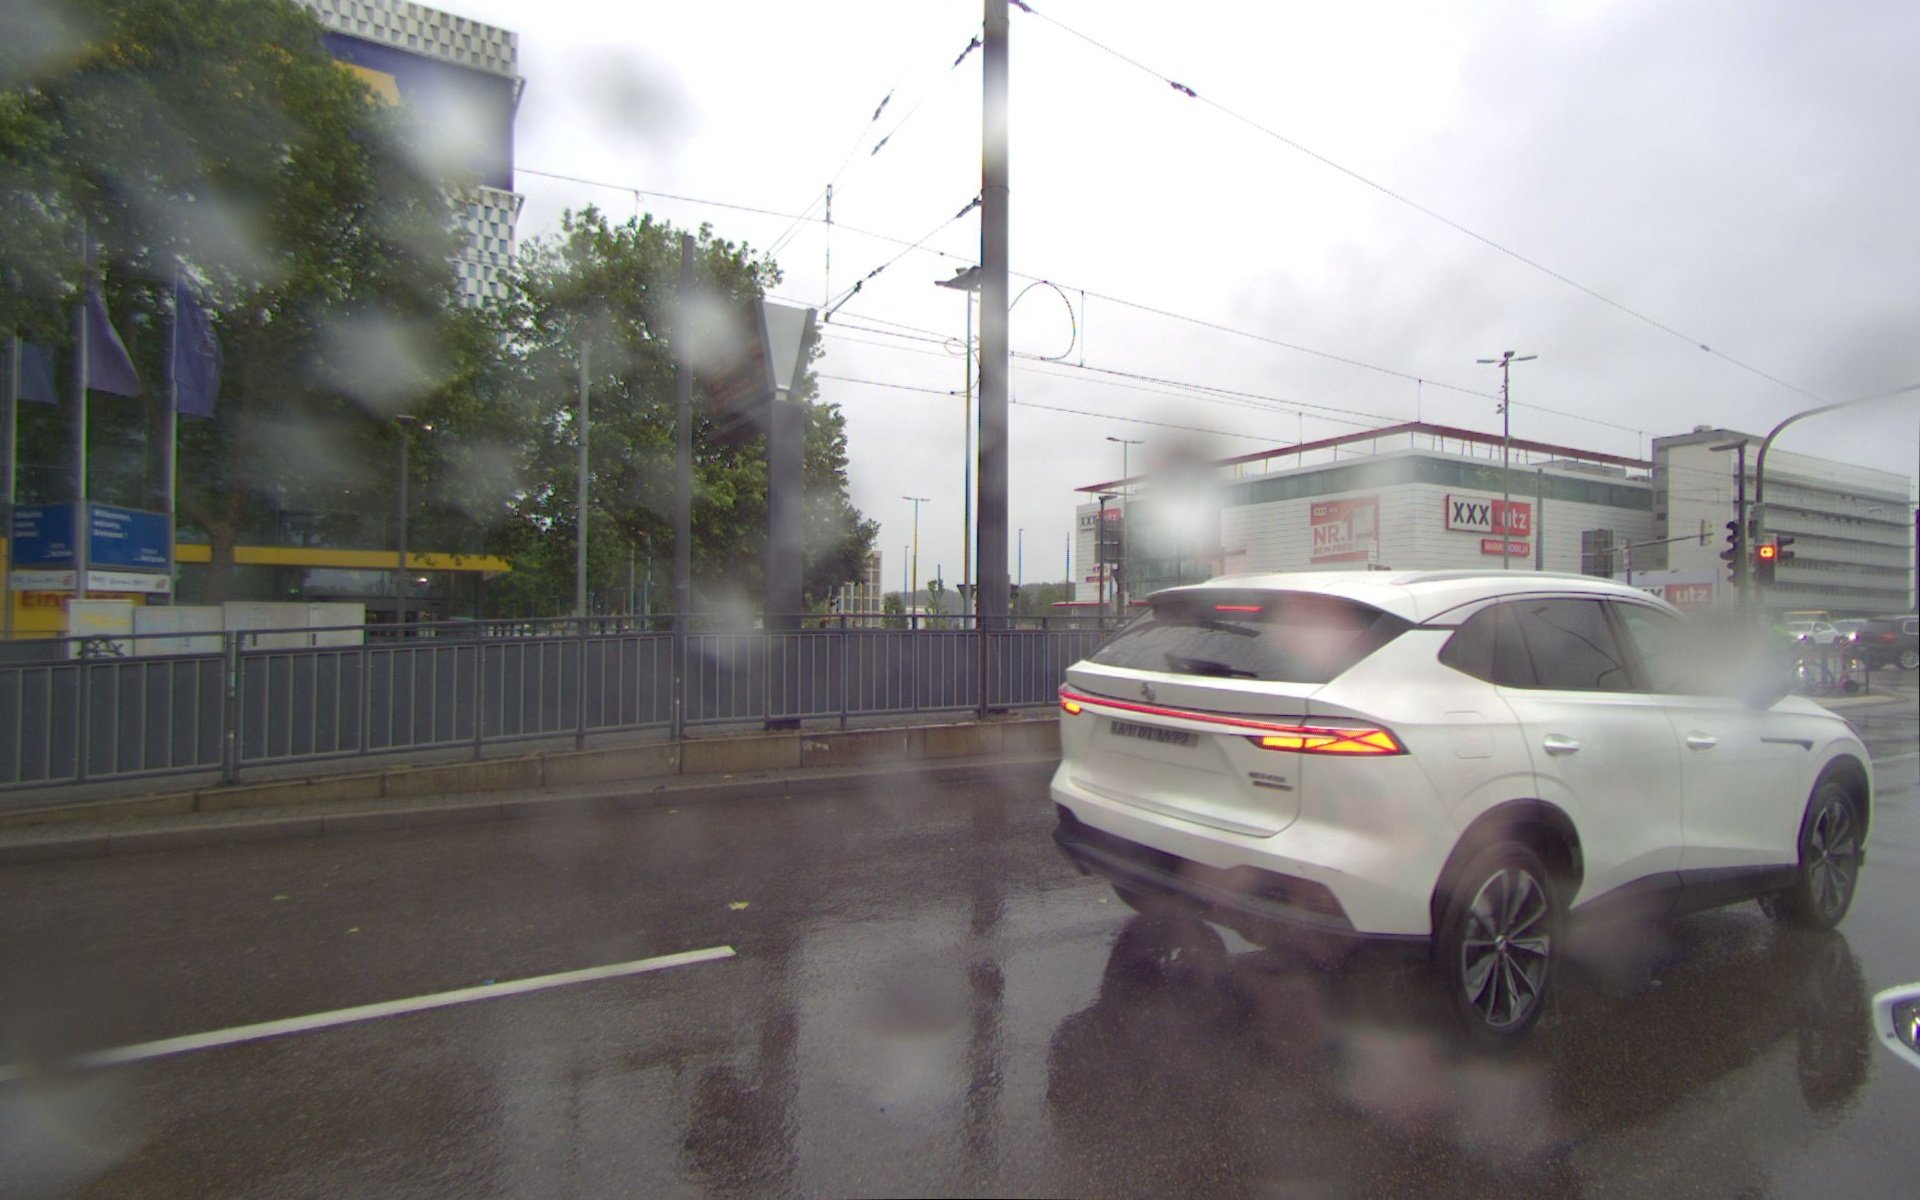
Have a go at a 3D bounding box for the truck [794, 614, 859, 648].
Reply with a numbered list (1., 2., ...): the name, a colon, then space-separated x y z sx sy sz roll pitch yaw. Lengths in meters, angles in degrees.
1. truck: -10.892 2.460 81.279 2.445 2.240 7.329 3 1 -31

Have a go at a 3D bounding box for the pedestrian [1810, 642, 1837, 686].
1. pedestrian: 18.497 1.362 21.507 0.376 0.909 0.313 1 2 -32

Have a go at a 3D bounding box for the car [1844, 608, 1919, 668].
1. car: 30.020 1.233 30.953 3.720 1.696 1.707 3 2 13

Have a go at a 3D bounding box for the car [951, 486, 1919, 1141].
1. car: 2.439 0.626 4.759 4.609 1.799 1.921 2 0 -30

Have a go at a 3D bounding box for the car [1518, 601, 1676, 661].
1. car: 19.121 0.887 30.234 1.639 1.527 3.695 1 1 -43

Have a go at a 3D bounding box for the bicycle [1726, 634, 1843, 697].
1. bicycle: 16.668 1.307 20.344 1.724 1.153 0.520 2 0 18

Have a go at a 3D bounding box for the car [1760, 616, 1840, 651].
1. car: 39.823 1.584 47.609 3.765 1.445 1.702 3 1 -30

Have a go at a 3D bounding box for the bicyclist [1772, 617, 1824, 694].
1. bicyclist: 16.897 1.106 20.275 0.593 1.511 0.600 2 0 20
